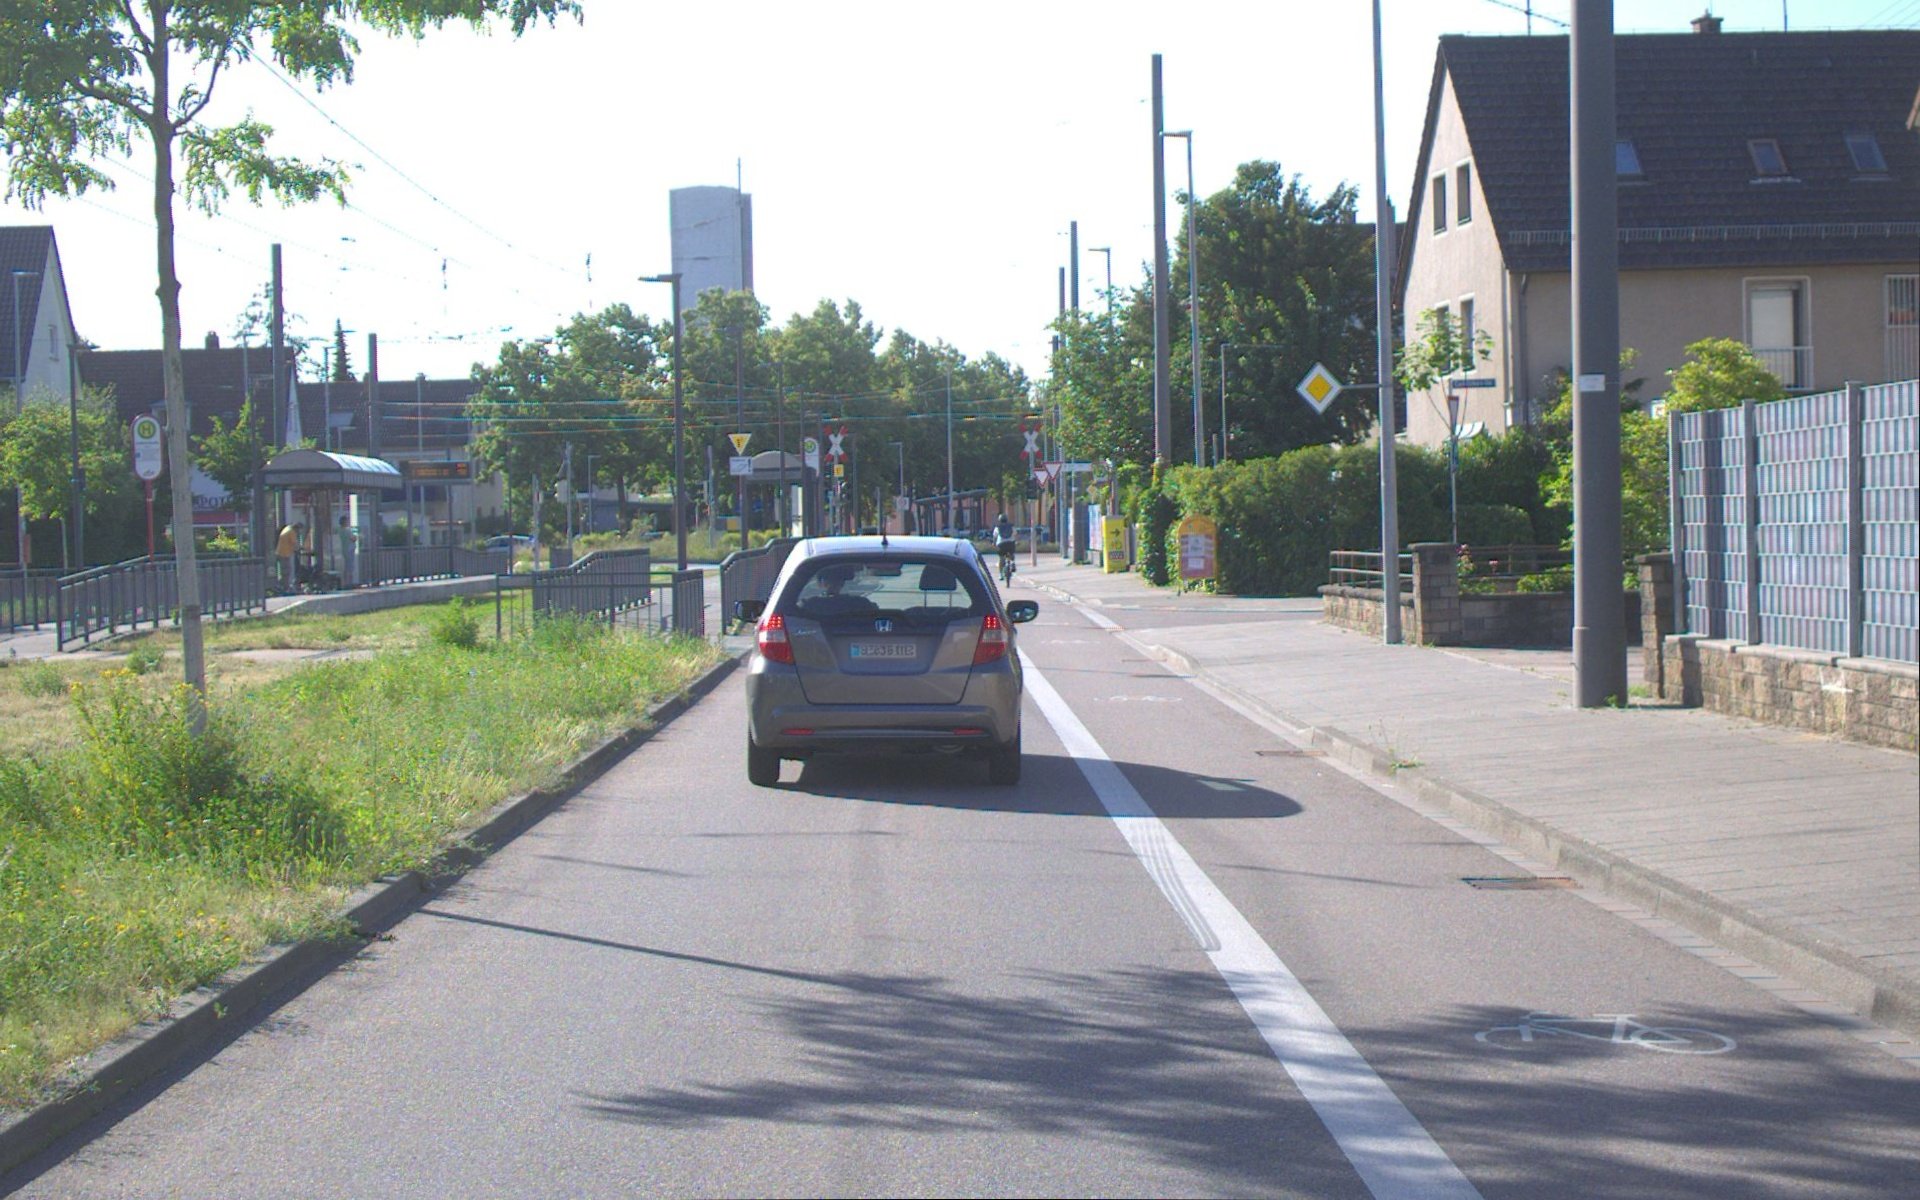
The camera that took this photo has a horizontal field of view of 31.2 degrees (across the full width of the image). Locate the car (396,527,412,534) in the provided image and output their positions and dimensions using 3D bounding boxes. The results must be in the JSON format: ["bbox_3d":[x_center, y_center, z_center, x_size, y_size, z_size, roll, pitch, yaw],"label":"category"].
[{"bbox_3d":[-26.352,-3.300,162.916,0.699,0.335,0.329,1,0,4],"label":"car"}]

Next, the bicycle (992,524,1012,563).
[{"bbox_3d":[1.043,-1.393,85.542,0.475,0.958,1.657,0,1,0],"label":"bicycle"}]

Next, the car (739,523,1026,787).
[{"bbox_3d":[-0.494,0.294,21.945,1.670,1.530,3.487,1,1,-1],"label":"car"}]

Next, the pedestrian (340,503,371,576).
[{"bbox_3d":[-14.133,-1.421,80.417,0.500,1.690,0.771,-3,1,0],"label":"pedestrian"}]

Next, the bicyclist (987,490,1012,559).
[{"bbox_3d":[0.983,-1.876,85.308,0.598,1.695,0.683,0,0,0],"label":"bicyclist"}]

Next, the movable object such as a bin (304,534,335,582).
[{"bbox_3d":[-13.320,-0.877,71.494,0.546,0.984,0.741,-1,1,-4],"label":"movable object such as a bin"}]

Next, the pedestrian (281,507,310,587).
[{"bbox_3d":[-14.139,-1.130,73.132,0.519,1.702,0.581,-1,1,-5],"label":"pedestrian"}]

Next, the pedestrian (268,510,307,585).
[{"bbox_3d":[-13.976,-1.100,71.456,0.675,1.530,0.749,-1,1,-5],"label":"pedestrian"}]
